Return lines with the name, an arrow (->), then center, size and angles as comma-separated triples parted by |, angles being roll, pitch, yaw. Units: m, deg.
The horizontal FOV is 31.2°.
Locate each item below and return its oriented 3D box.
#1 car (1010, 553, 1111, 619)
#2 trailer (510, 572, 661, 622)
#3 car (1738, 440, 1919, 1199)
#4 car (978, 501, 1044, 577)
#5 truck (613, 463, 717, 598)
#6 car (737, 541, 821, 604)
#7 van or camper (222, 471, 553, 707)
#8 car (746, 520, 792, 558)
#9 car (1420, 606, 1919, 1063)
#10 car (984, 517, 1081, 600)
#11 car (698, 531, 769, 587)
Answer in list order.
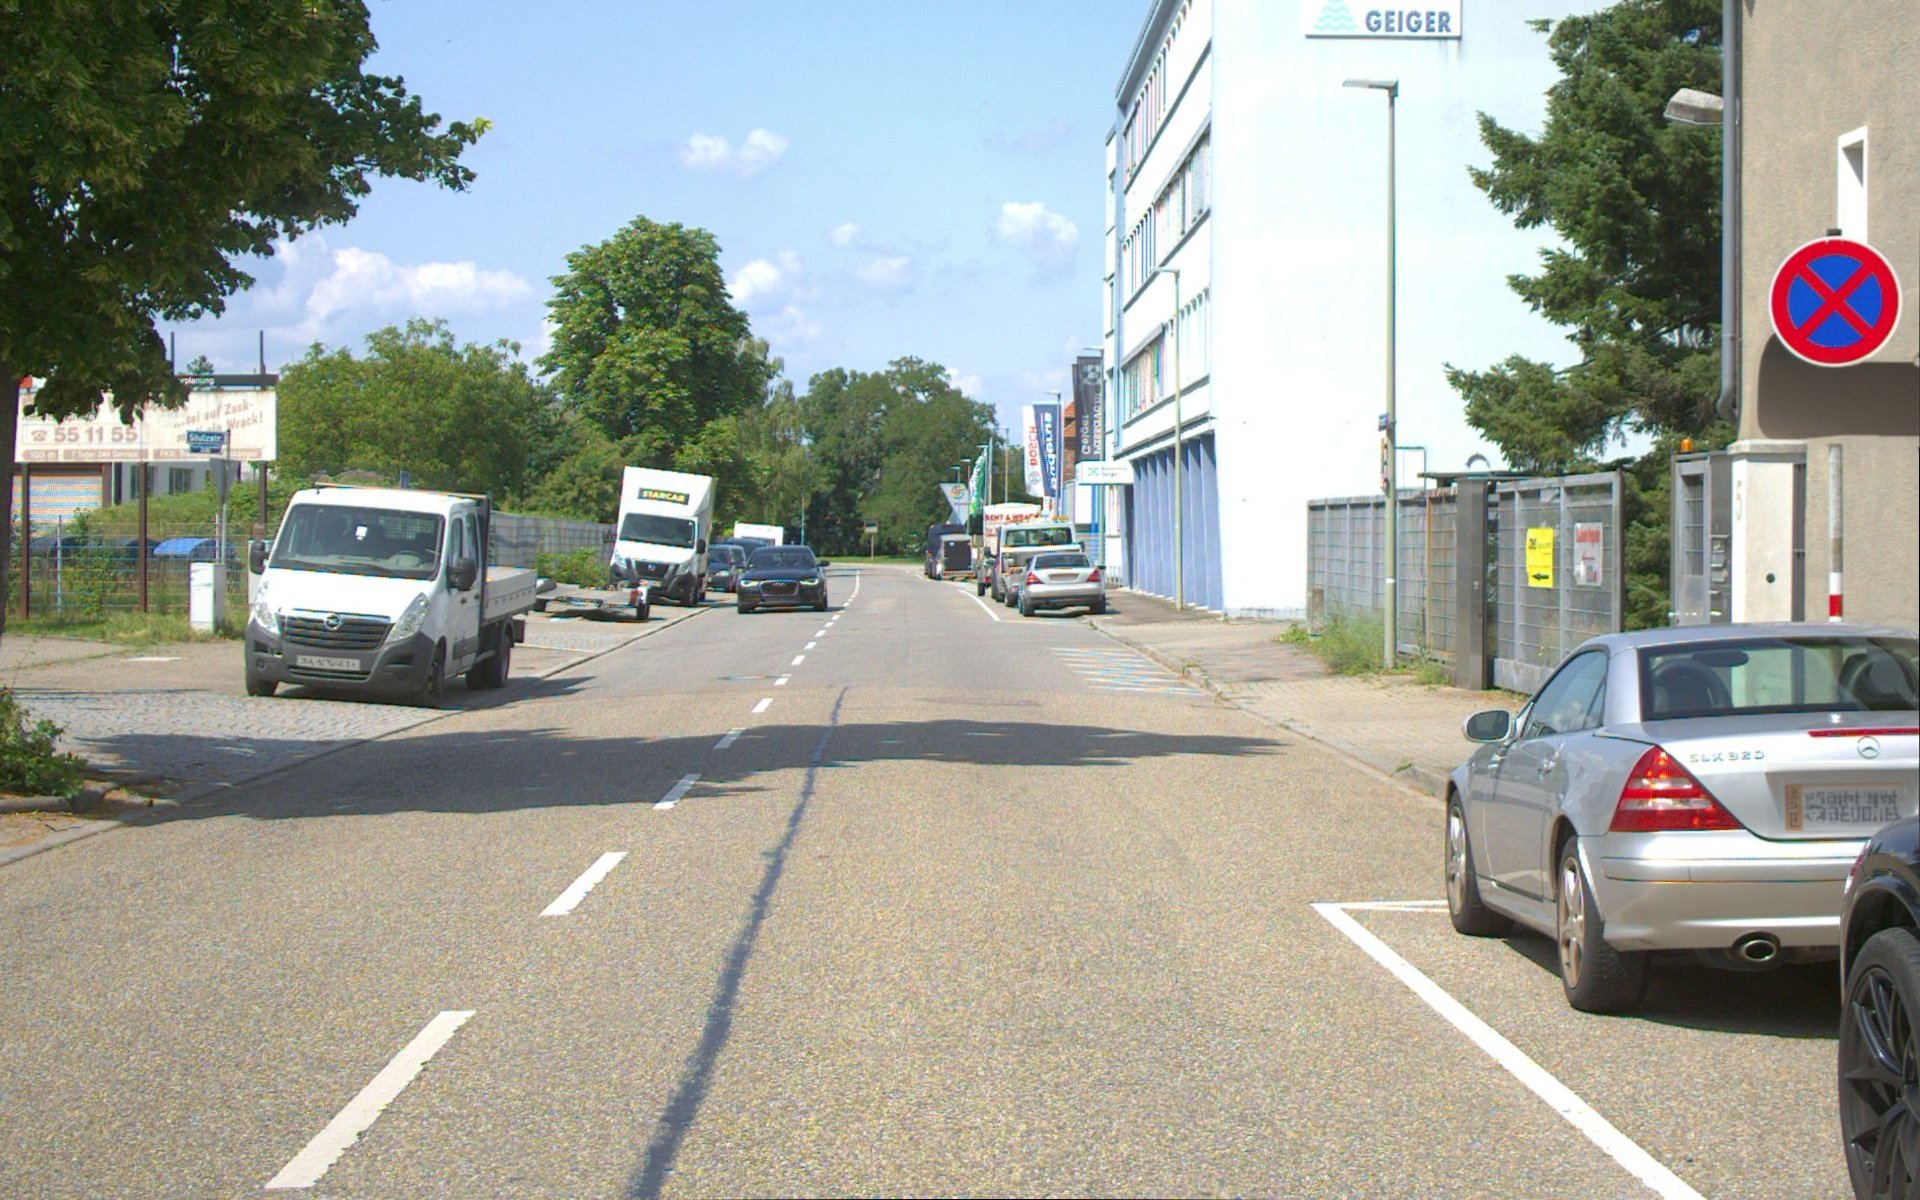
car -> 2.061, -0.304, 71.449 | 1.928, 1.306, 4.000 | 0, 1, -1
trailer -> -7.412, -0.085, 68.628 | 2.417, 0.811, 5.537 | 2, 1, 0
car -> 3.037, 0.596, 6.130 | 1.960, 1.774, 4.955 | 2, 1, -2
car -> 1.402, -1.713, 95.817 | 1.707, 2.082, 4.000 | 0, 1, -1
truck -> -7.096, -1.689, 83.304 | 2.029, 3.143, 6.500 | 0, 1, -1
car -> -3.930, -0.613, 75.213 | 1.654, 1.320, 4.417 | 0, 1, -1
van or camper -> -6.322, -0.190, 39.035 | 2.174, 2.405, 7.697 | 0, 1, 2
car -> -9.006, -2.884, 162.085 | 1.993, 1.809, 4.000 | 0, 1, -1
car -> 2.812, 0.740, 12.720 | 1.629, 1.349, 3.924 | 0, 1, -1
car -> 1.759, -1.055, 85.307 | 2.216, 2.007, 5.485 | 0, 1, -1
car -> -6.940, -1.283, 105.603 | 1.993, 1.678, 4.000 | 0, 1, -1
